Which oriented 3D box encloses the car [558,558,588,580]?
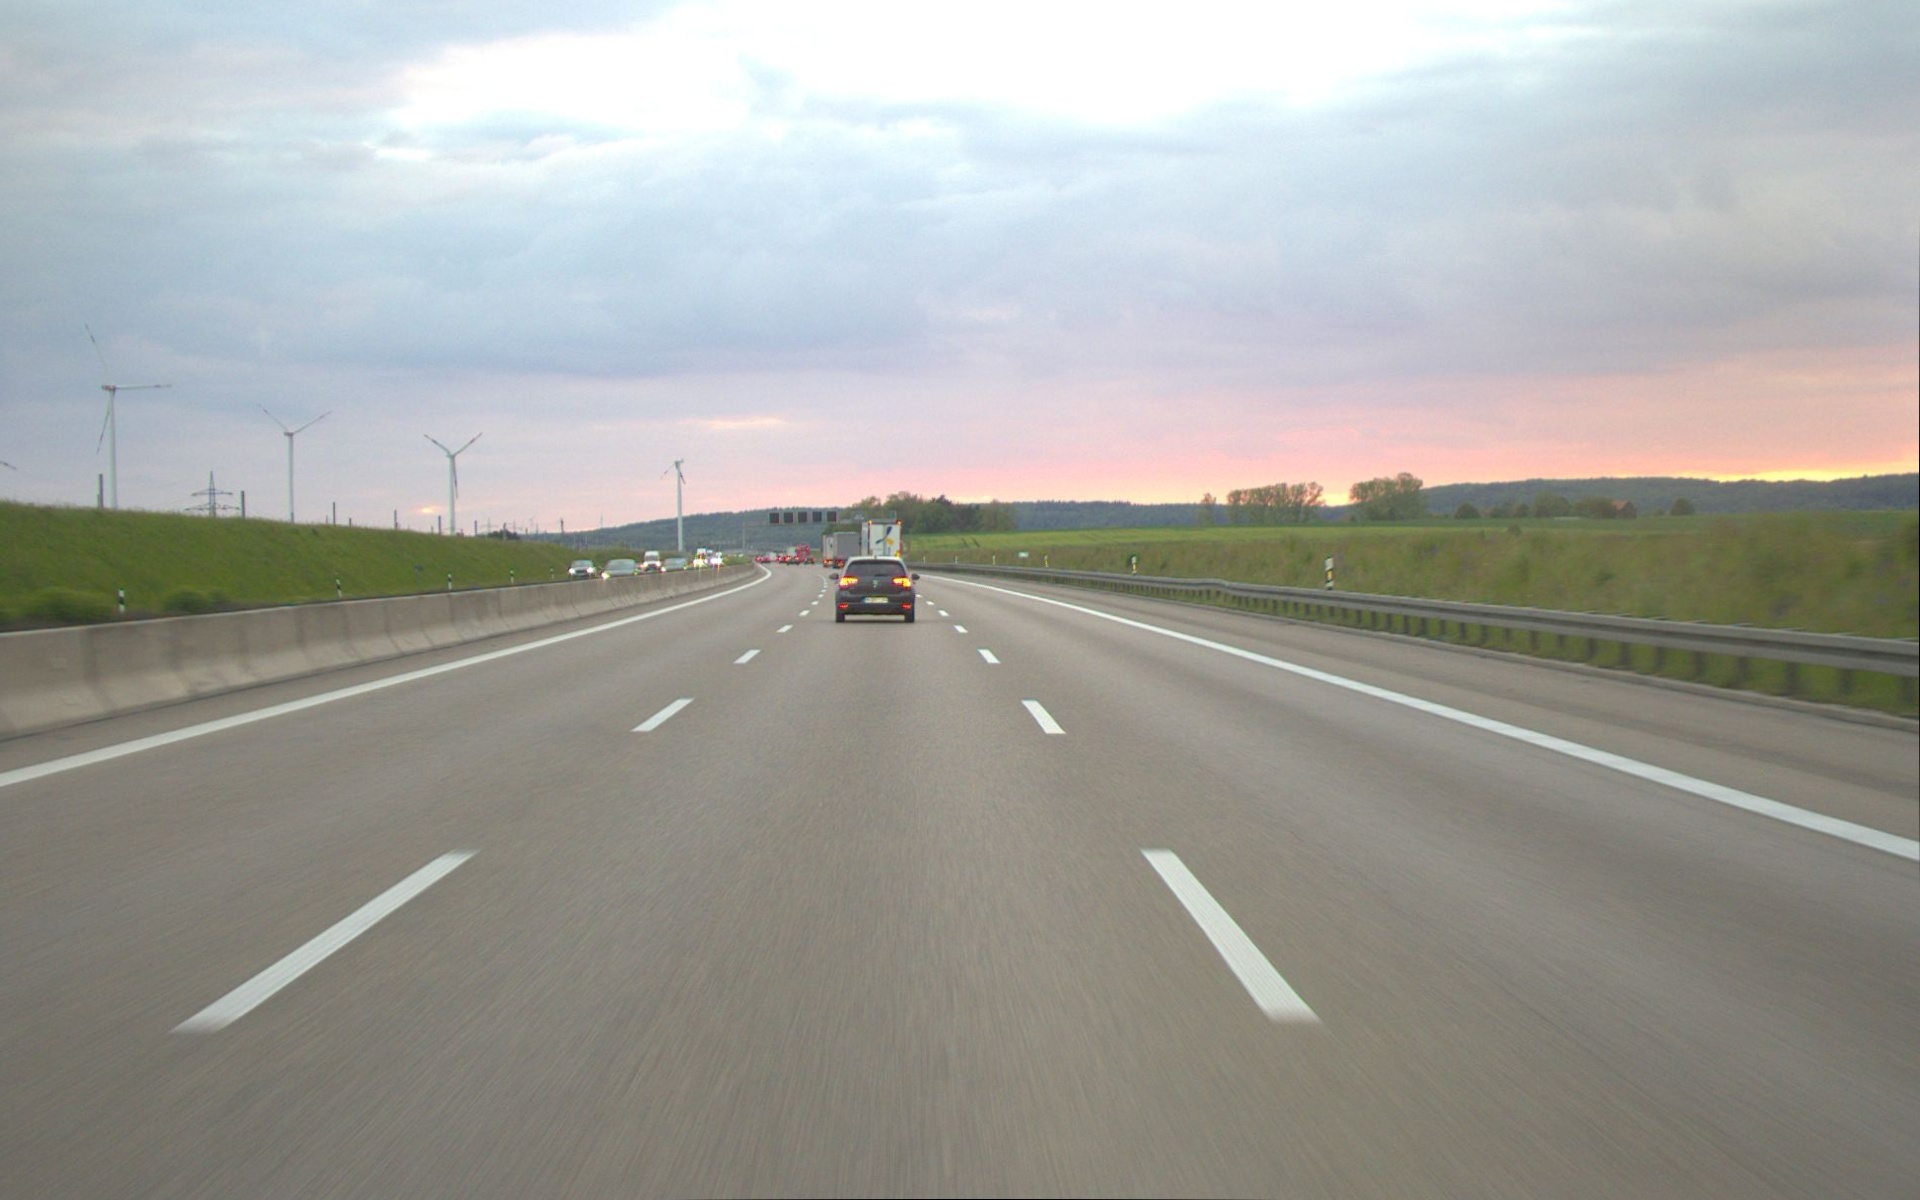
[{"bbox_3d":[-28.189,-2.233,250.489,1.861,1.548,4.582,-1,1,-3],"label":"car"}]

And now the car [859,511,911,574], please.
[{"bbox_3d":[-4.526,-3.439,205.310,2.934,3.635,8.600,-1,1,-2],"label":"car"}]

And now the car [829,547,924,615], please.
[{"bbox_3d":[-1.810,-0.438,75.270,1.987,1.425,4.000,-1,1,-1],"label":"car"}]
